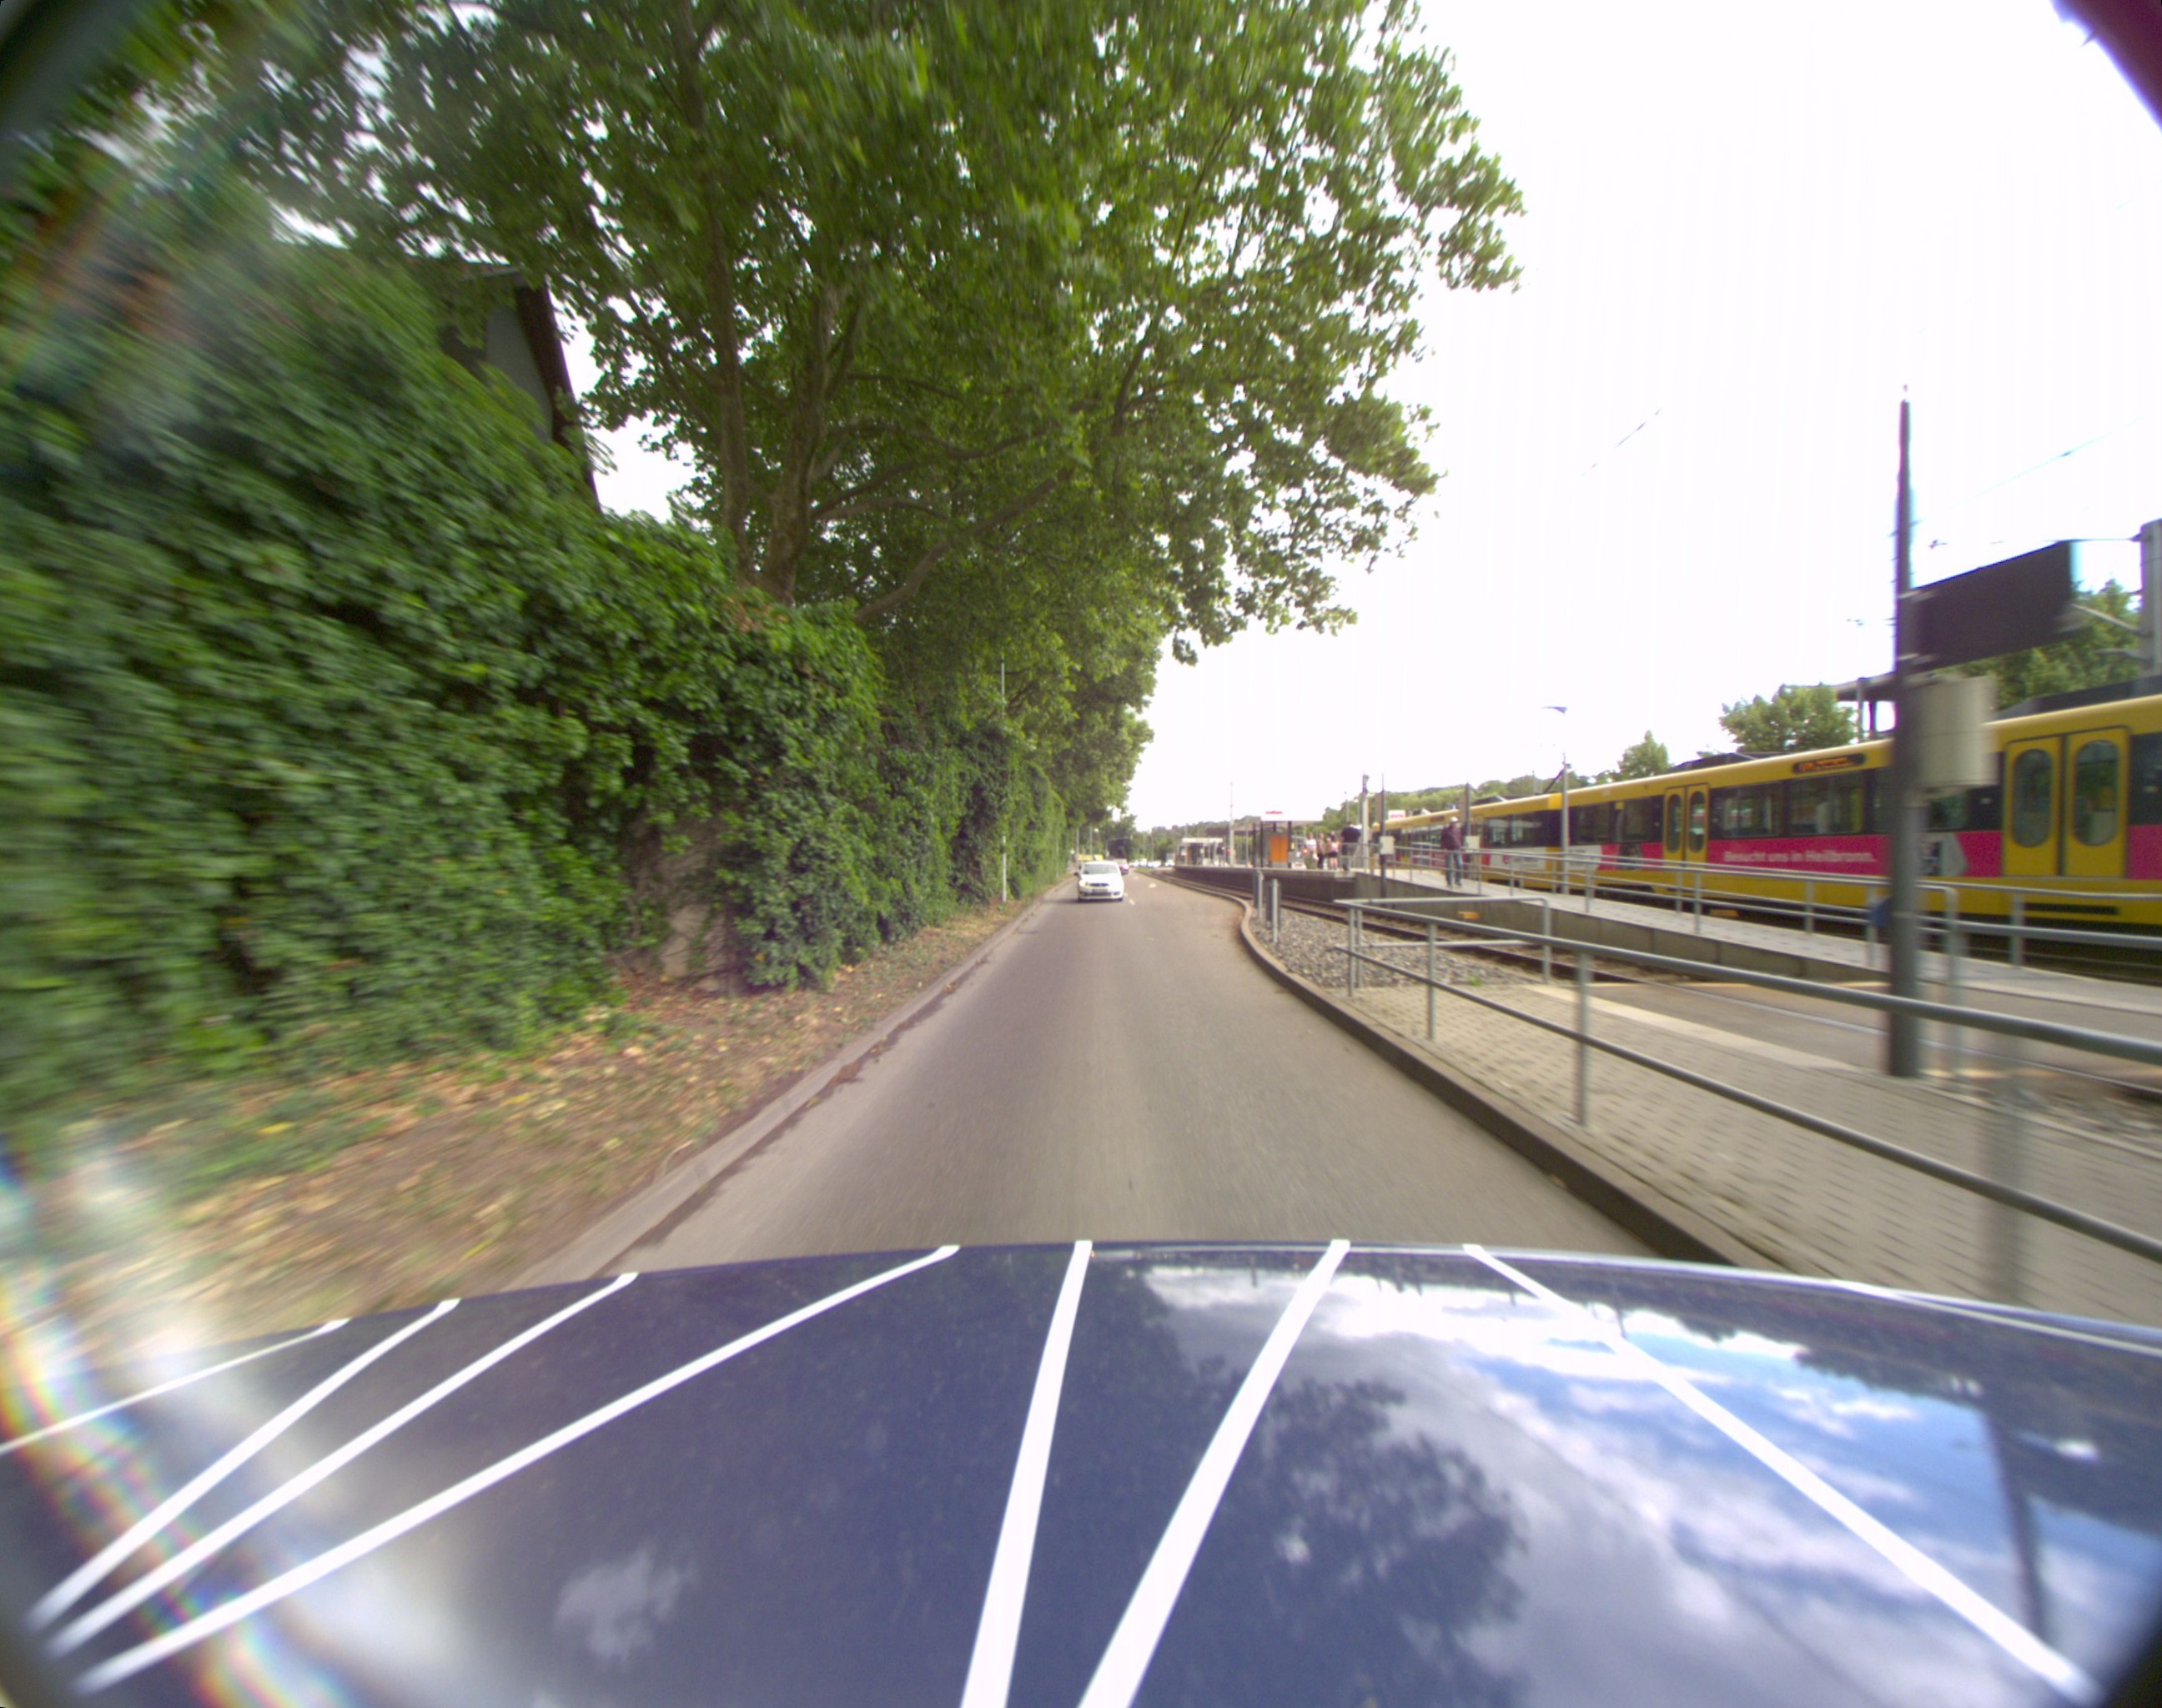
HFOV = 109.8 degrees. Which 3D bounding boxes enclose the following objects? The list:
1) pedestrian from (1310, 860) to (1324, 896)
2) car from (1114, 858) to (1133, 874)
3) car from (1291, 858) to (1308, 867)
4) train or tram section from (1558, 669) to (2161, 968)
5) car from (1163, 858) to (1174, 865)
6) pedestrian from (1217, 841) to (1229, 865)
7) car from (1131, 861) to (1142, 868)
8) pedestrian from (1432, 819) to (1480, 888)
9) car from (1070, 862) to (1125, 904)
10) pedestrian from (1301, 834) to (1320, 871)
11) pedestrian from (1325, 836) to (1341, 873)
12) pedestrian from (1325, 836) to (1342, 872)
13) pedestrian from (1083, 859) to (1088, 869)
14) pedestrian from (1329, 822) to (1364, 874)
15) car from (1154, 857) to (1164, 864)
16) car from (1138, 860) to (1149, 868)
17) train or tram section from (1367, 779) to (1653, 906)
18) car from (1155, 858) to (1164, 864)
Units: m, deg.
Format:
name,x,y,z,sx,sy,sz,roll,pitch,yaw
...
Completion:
name,x,y,z,sx,sy,sz,roll,pitch,yaw
pedestrian,9.473,0.955,30.462,0.361,1.456,0.639,-1,0,1
car,4.569,1.253,80.595,1.895,1.607,4.510,-1,0,4
car,31.938,1.208,111.143,1.617,1.342,4.032,0,0,3
train or tram section,15.404,-0.442,13.887,2.762,3.806,18.637,-1,0,4
car,19.444,1.690,168.910,1.965,1.543,4.004,1,0,11
pedestrian,10.586,-0.059,56.725,0.750,1.734,0.937,1,0,2
car,12.094,2.196,164.709,1.718,1.410,4.004,1,0,13
pedestrian,9.291,-0.008,18.846,0.773,1.668,0.791,1,0,2
car,0.555,1.019,28.356,1.674,1.439,3.603,-1,0,-5
pedestrian,9.454,-0.062,31.296,0.519,1.474,0.583,2,1,40
pedestrian,10.025,0.027,30.246,0.476,1.474,0.543,1,0,11
pedestrian,9.854,-0.010,29.637,0.480,1.397,0.411,1,0,1
pedestrian,0.640,1.433,112.888,0.755,1.505,0.671,1,0,2
pedestrian,8.638,-0.197,24.710,0.878,1.668,0.743,1,1,-44
car,18.893,1.615,184.524,1.828,1.543,4.004,1,0,13
car,14.089,2.160,171.144,1.807,1.814,4.005,0,0,14
train or tram section,16.622,-0.211,32.541,2.762,3.859,18.639,0,-1,4
car,19.816,1.691,190.825,1.829,1.543,4.004,1,0,11
